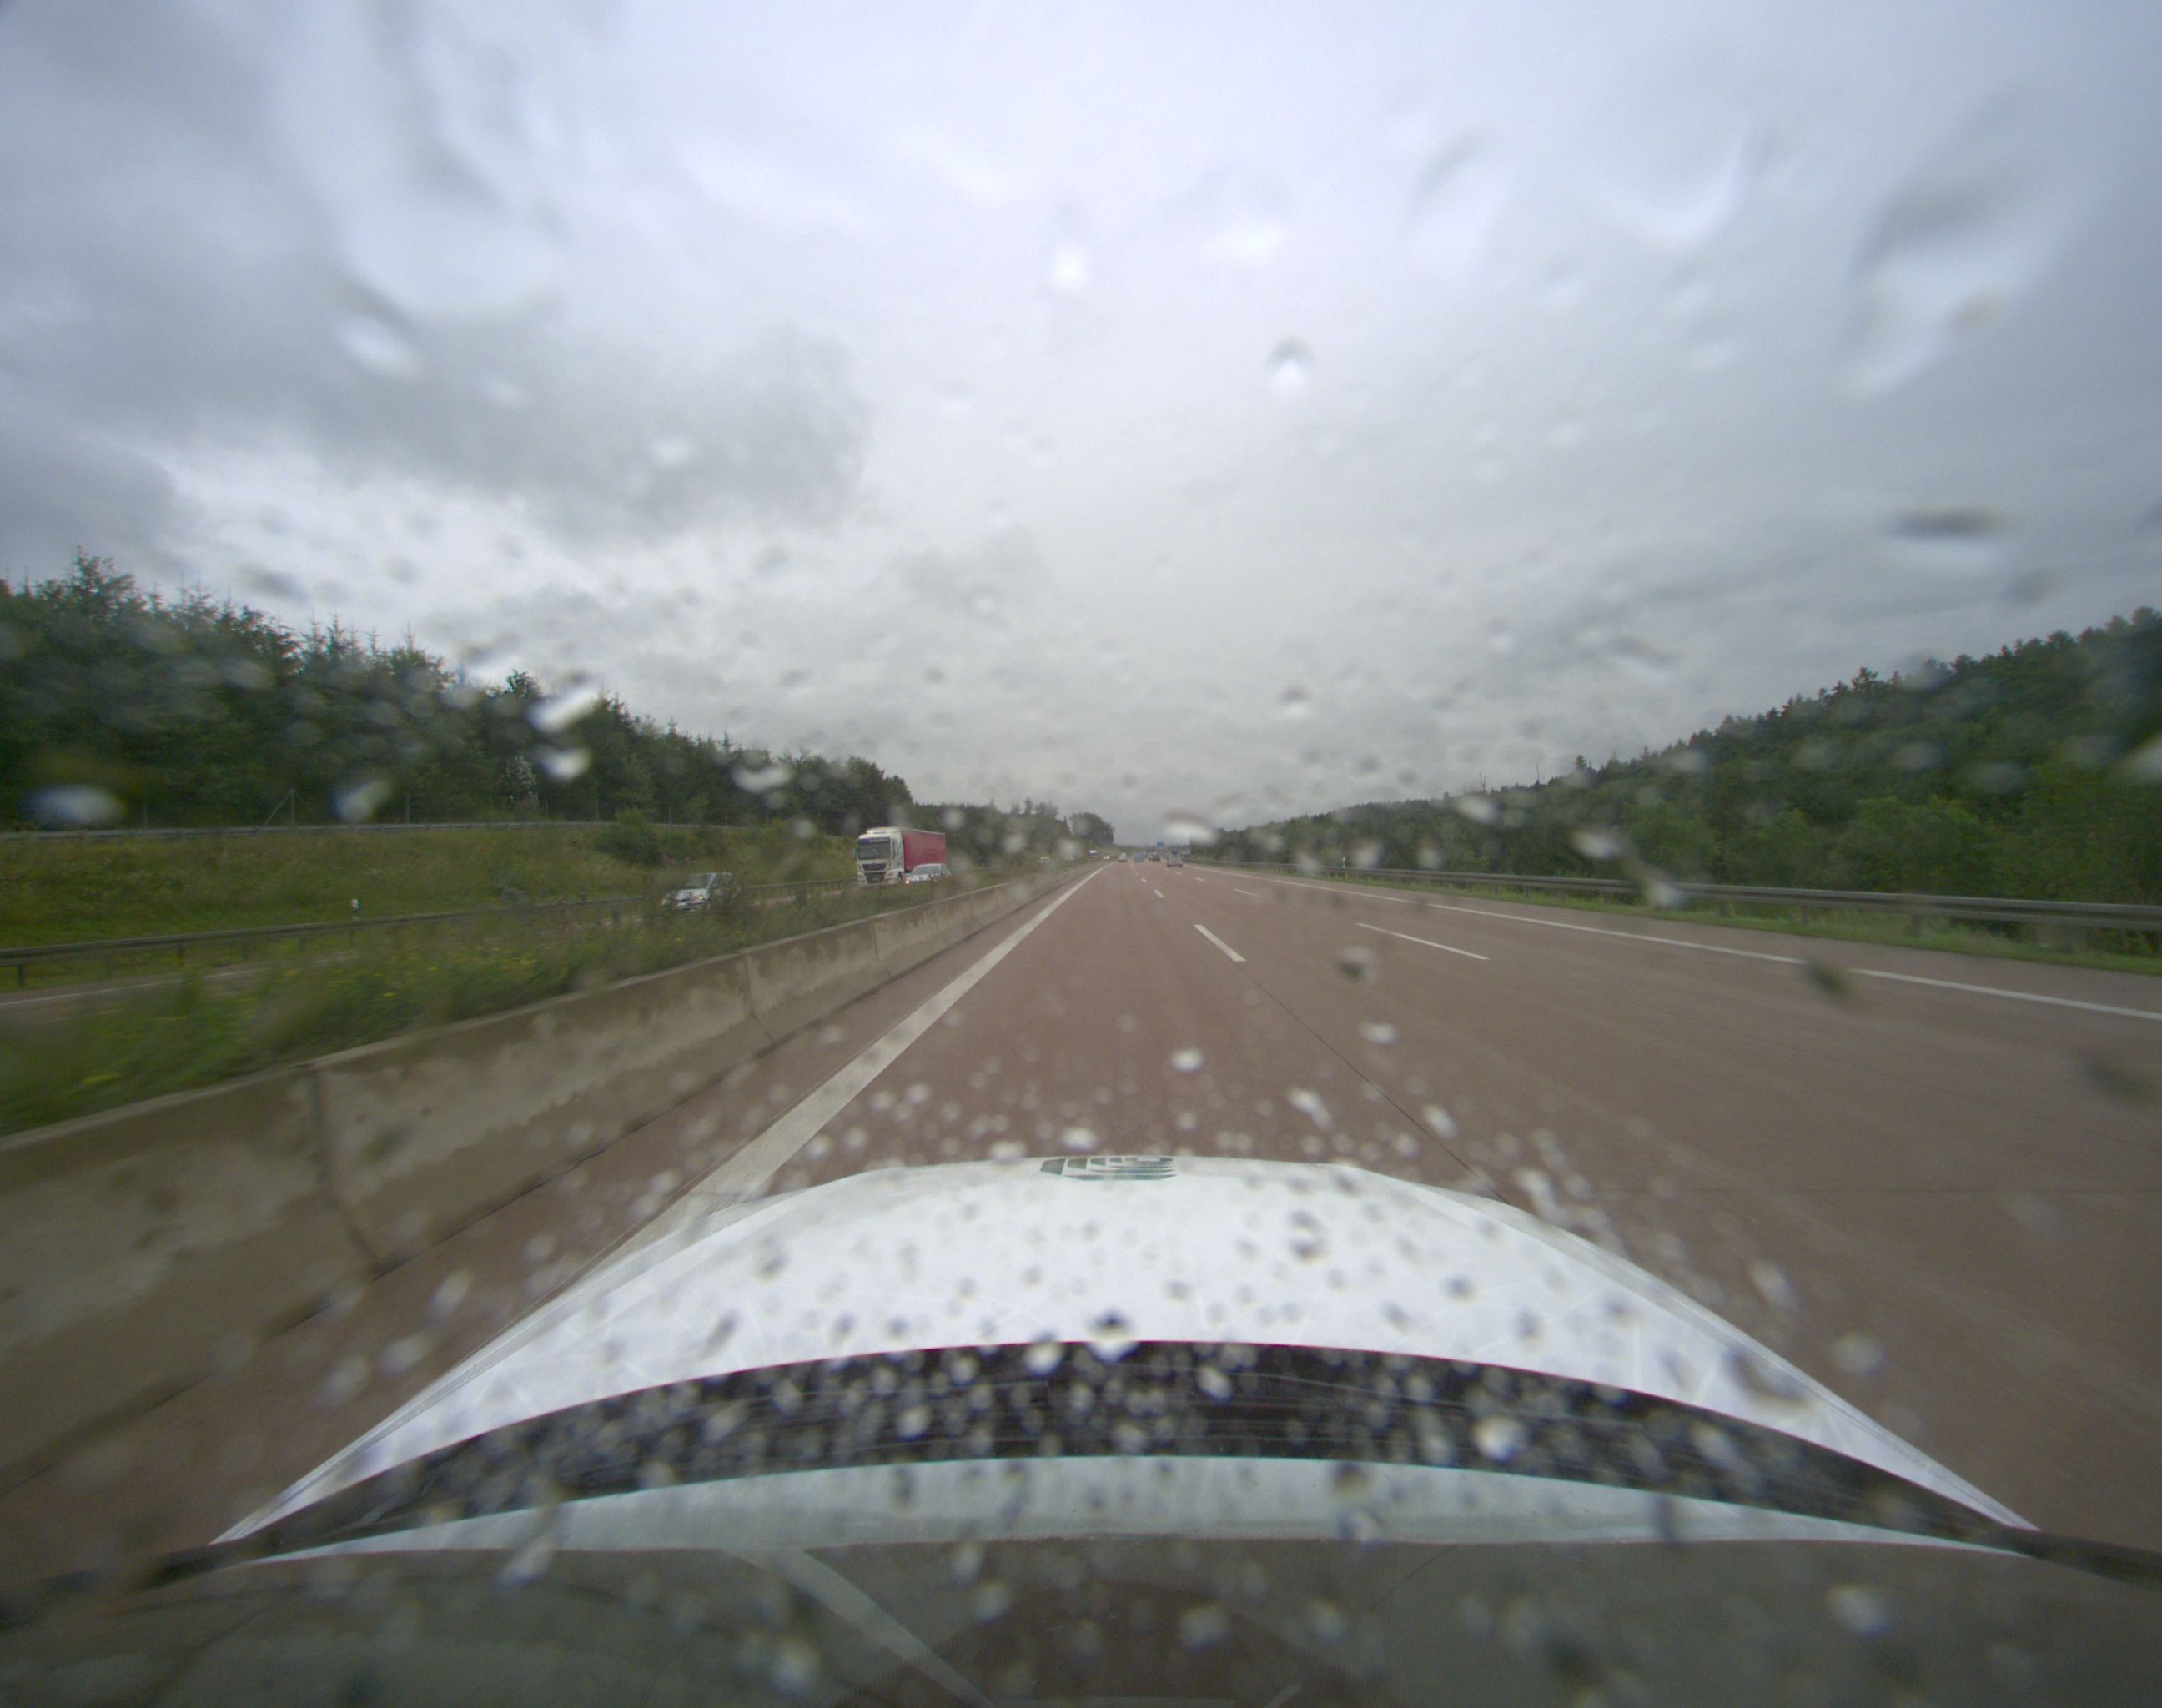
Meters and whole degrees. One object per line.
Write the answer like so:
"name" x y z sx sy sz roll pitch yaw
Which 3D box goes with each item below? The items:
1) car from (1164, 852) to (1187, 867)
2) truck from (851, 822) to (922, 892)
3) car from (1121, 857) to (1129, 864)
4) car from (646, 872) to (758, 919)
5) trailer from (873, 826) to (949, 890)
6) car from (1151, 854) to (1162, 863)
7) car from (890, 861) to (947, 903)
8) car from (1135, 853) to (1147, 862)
"car" 12.029 0.738 104.203 2.315 1.750 4.875 0 -1 0
"truck" -13.060 0.250 55.408 2.939 4.478 6.794 0 -1 2
"car" 9.851 1.457 183.238 1.866 1.444 4.880 0 -1 3
"car" -14.303 1.519 31.050 1.986 1.575 4.526 -2 -1 2
"trailer" -12.811 0.414 62.704 2.929 4.489 11.780 0 -1 2
"car" 17.362 1.159 187.591 1.987 2.014 3.998 0 -1 -1
"car" -7.230 1.231 36.639 1.697 1.785 4.412 0 -1 0
"car" 13.250 0.814 179.379 2.315 1.750 4.875 0 -1 0
